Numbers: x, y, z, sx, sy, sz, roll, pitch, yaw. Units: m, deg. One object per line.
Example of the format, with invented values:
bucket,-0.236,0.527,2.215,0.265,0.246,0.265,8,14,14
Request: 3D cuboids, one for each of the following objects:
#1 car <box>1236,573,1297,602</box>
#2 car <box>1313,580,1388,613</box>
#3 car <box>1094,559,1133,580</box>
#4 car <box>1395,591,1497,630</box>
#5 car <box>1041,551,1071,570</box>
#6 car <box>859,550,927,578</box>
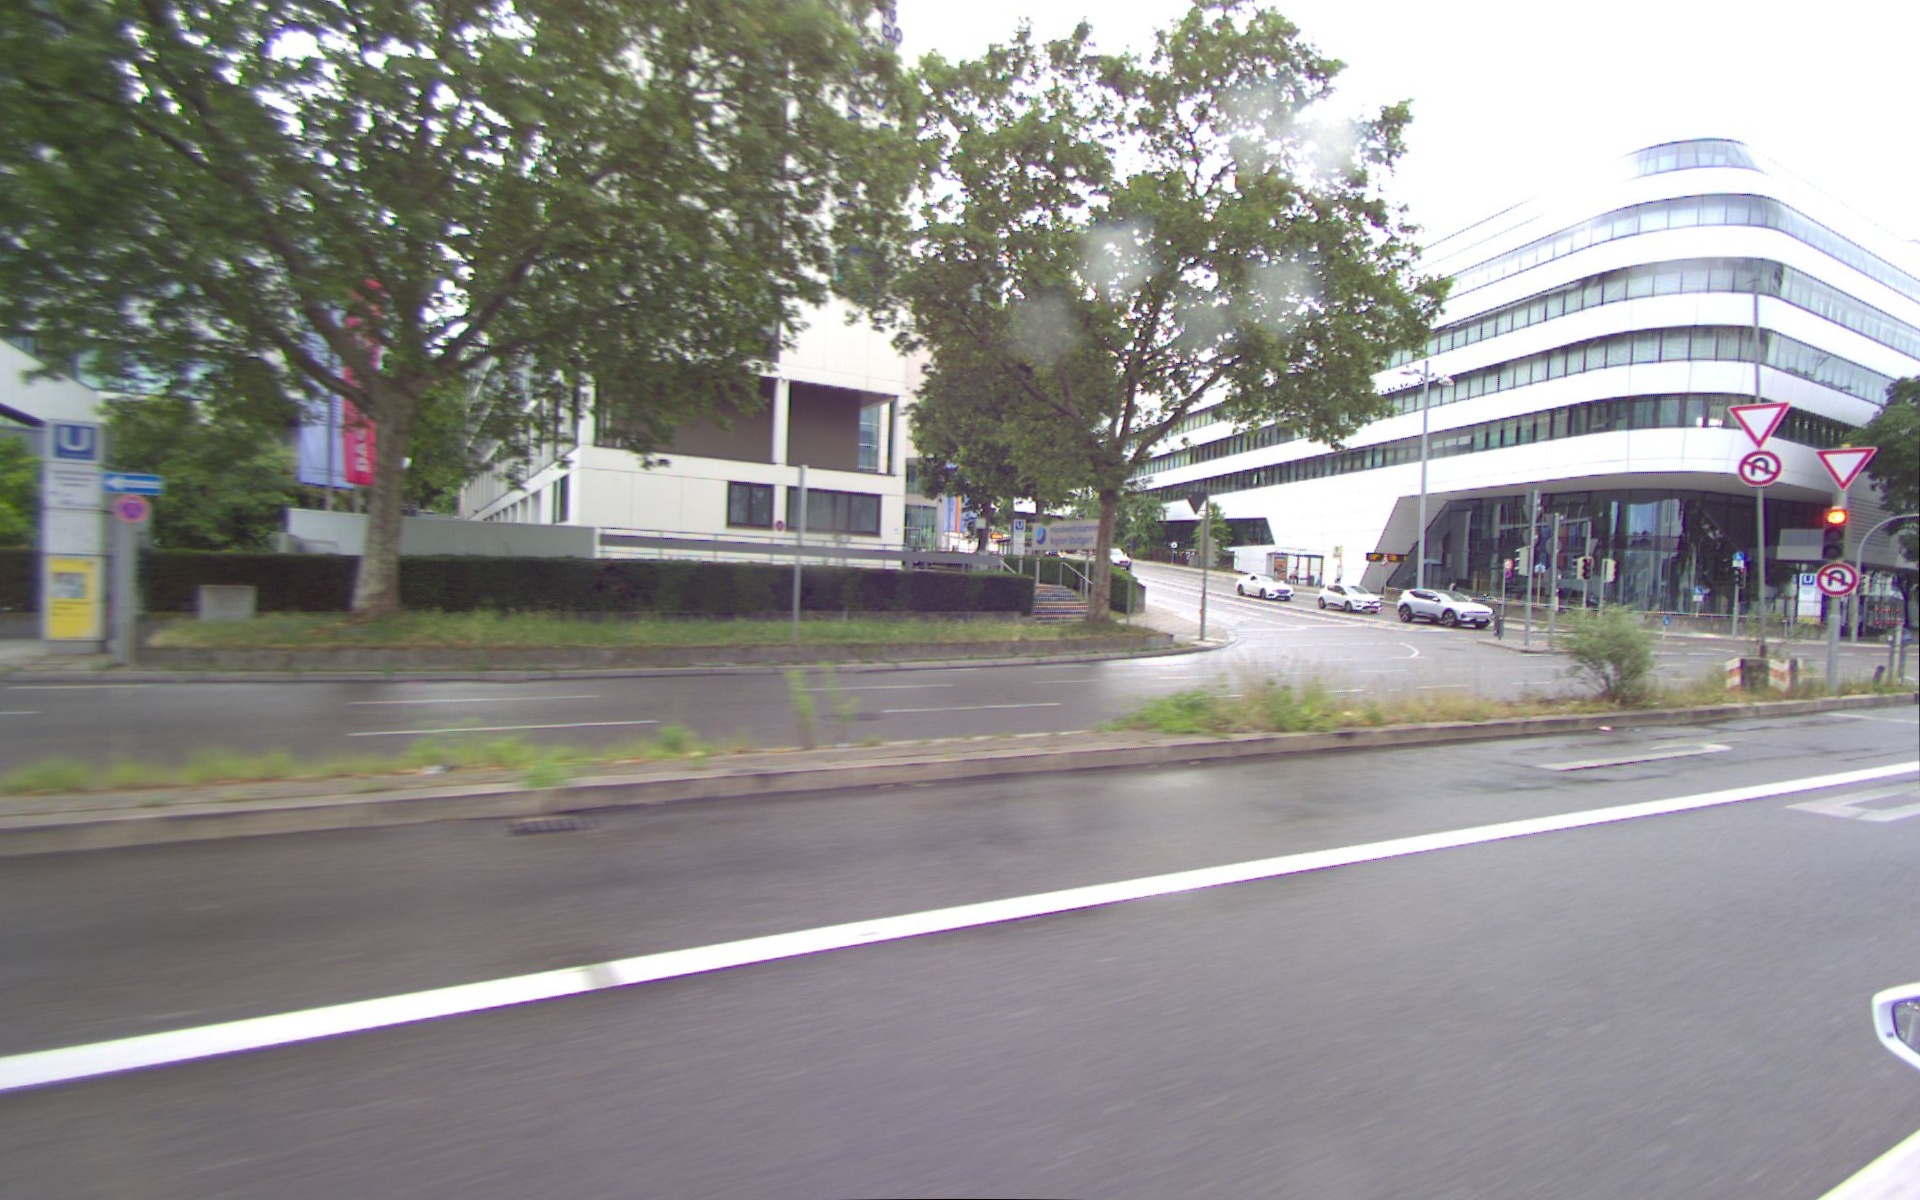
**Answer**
car,19.044,-0.813,62.607,1.862,1.653,3.989,2,1,-13
car,21.293,-0.181,54.933,1.862,1.653,3.989,2,0,-13
car,13.215,-2.635,86.654,1.862,1.653,3.989,2,2,-13
car,22.658,0.471,47.037,1.862,1.653,4.504,2,0,-13
car,9.741,-4.038,102.441,1.862,1.653,3.989,2,4,-13
car,-4.034,-2.161,60.754,3.836,1.428,1.518,2,0,-30
